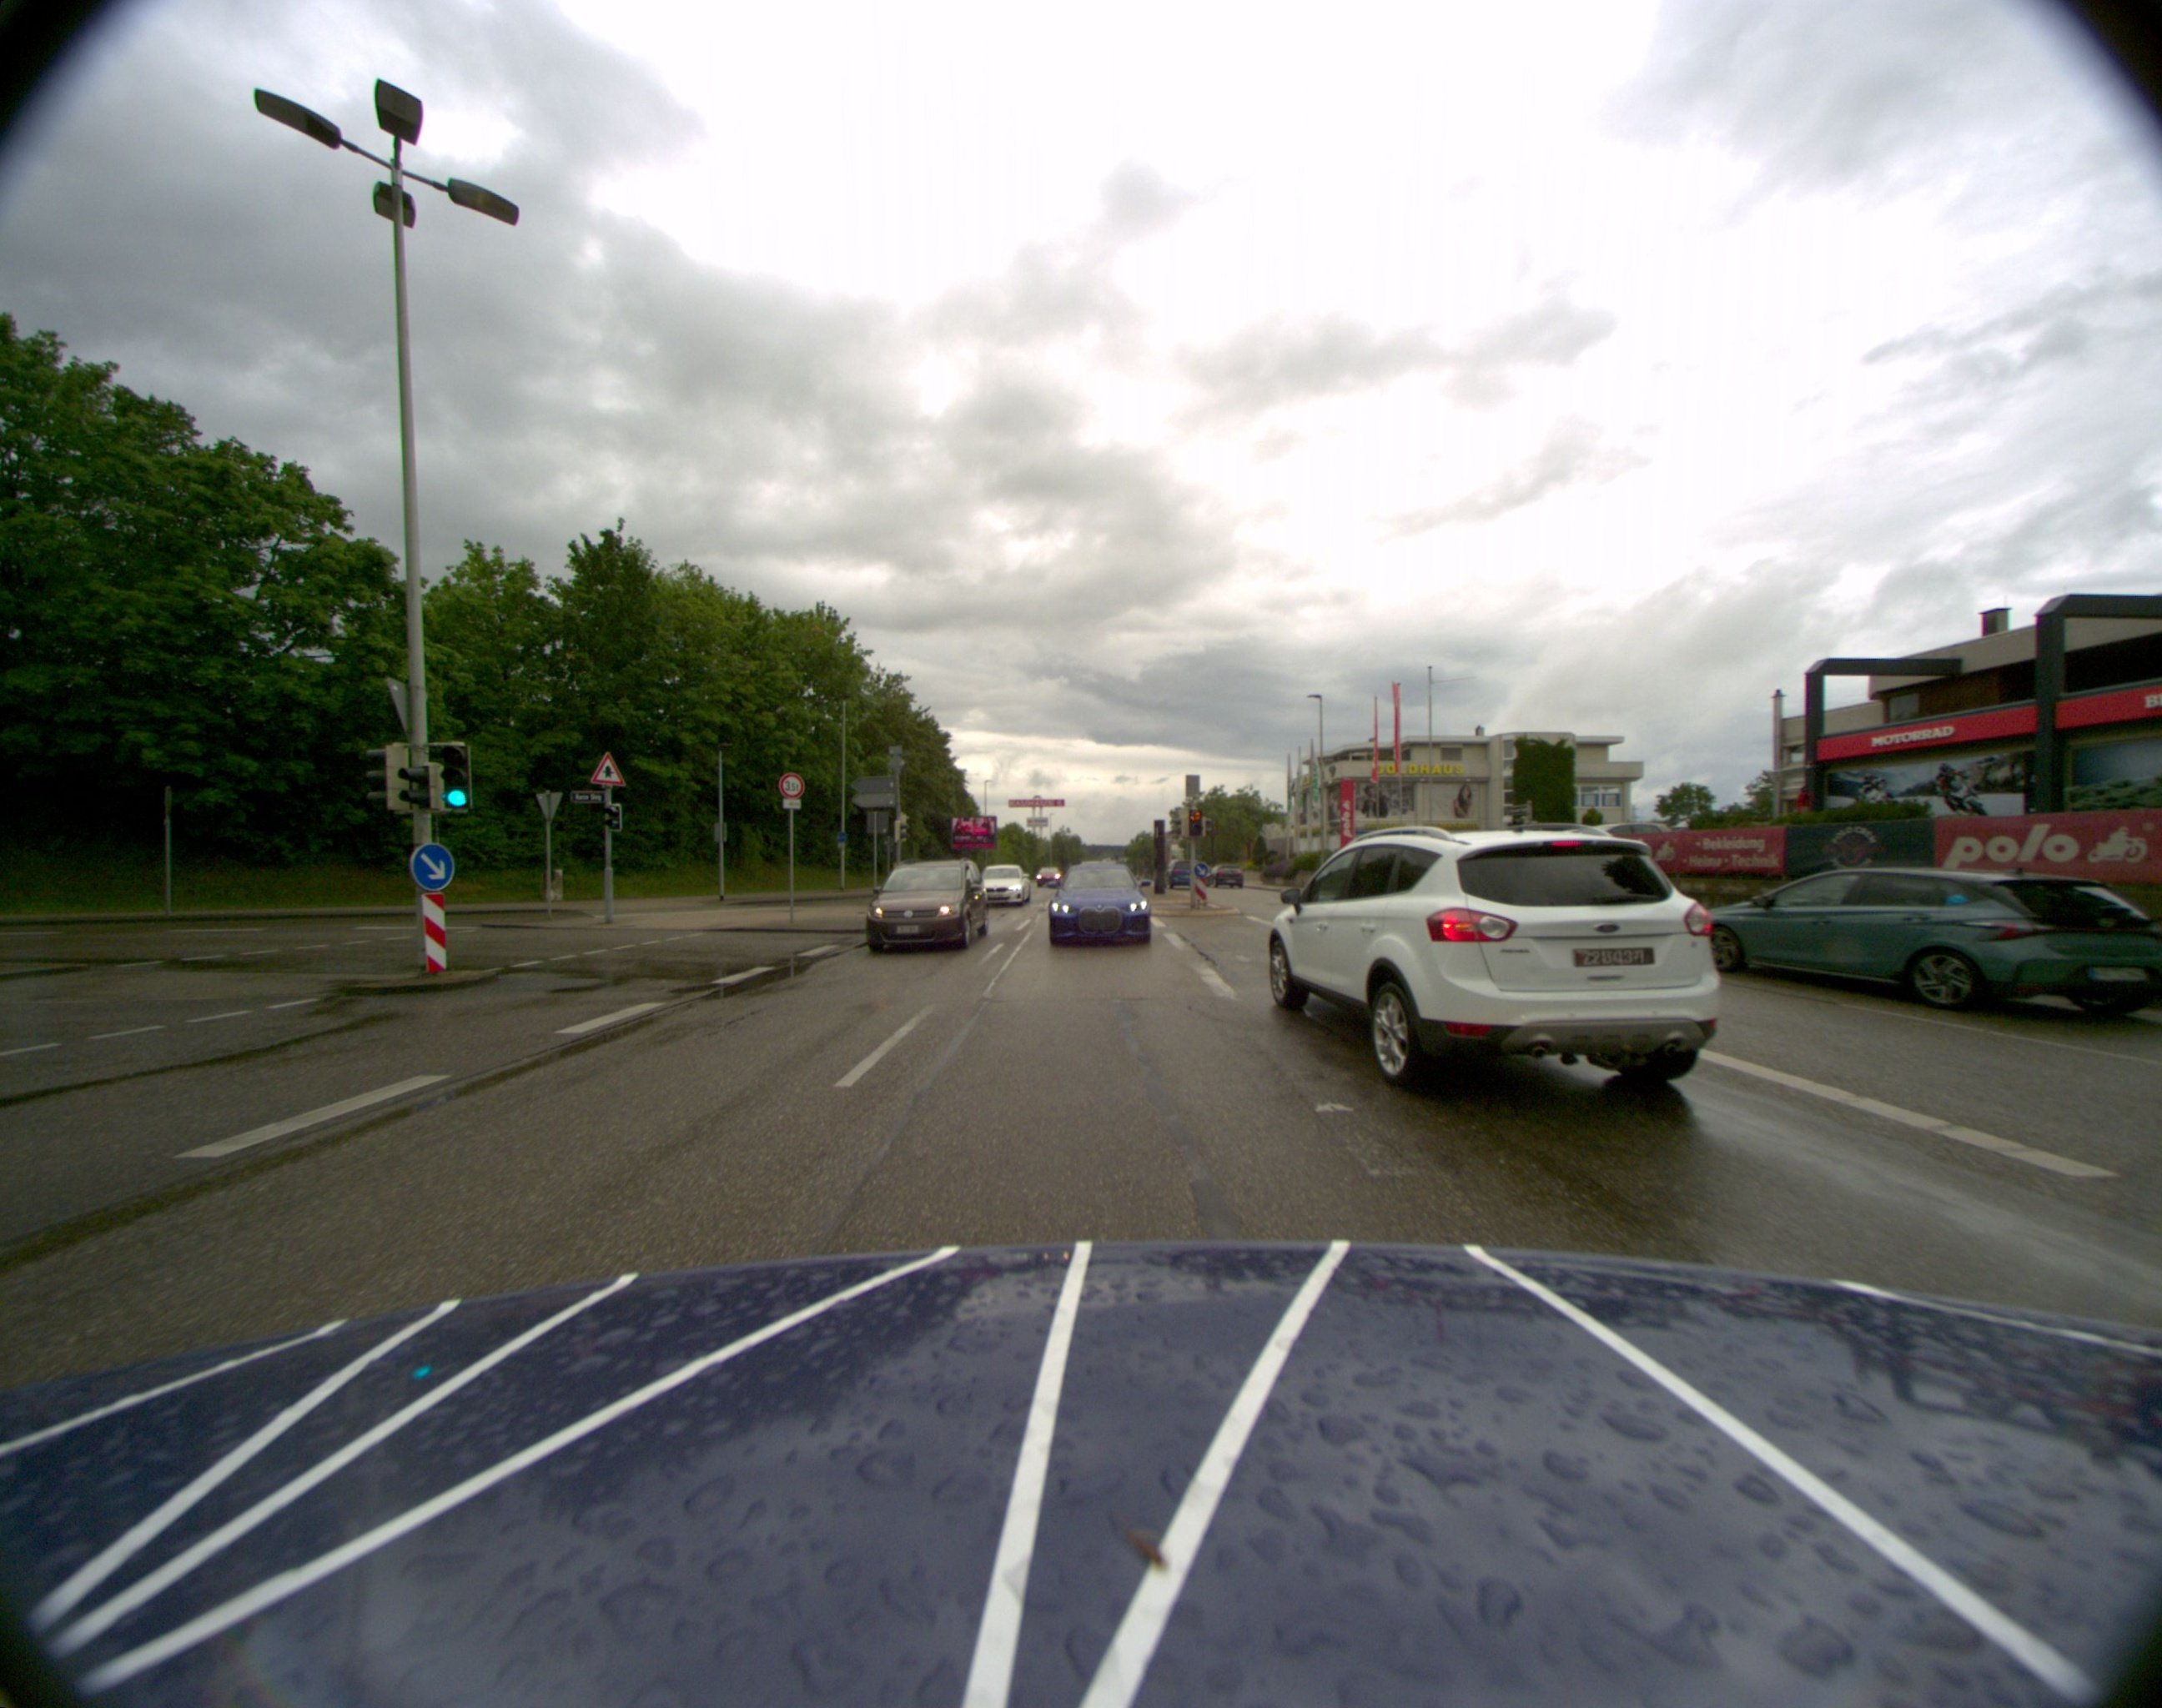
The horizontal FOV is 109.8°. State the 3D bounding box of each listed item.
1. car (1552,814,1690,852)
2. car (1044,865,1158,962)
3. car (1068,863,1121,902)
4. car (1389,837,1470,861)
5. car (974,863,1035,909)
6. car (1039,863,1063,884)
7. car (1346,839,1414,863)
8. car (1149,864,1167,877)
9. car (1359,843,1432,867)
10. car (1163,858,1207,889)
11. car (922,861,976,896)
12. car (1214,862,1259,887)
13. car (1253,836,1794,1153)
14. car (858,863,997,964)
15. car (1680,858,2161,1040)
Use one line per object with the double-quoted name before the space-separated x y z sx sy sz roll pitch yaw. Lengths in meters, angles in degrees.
"car" 17.263 -0.653 24.378 3.395 1.160 1.454 0 -1 -1
"car" 0.303 0.982 14.391 1.784 1.448 4.597 -1 0 -1
"car" 0.615 1.125 31.104 1.998 1.455 4.369 -2 -1 3
"car" 17.481 -0.254 38.192 3.395 1.160 1.454 0 -1 -1
"car" -2.739 1.114 28.120 1.784 1.448 4.679 -1 0 -1
"car" -2.170 1.393 55.229 1.634 1.448 3.538 -1 0 -1
"car" 17.239 -0.144 43.876 3.394 1.329 1.454 0 -1 2
"car" 11.625 2.556 115.394 2.350 1.878 4.546 0 -2 1
"car" 17.082 0.065 41.330 3.395 1.270 1.454 0 -1 -1
"car" 5.824 1.058 42.957 1.844 1.640 4.297 1 0 0
"car" -6.912 1.244 40.195 1.998 1.717 4.317 0 -1 1
"car" 9.273 1.199 45.670 1.922 1.371 4.126 1 0 1
"car" 2.795 0.747 6.110 1.844 1.640 4.297 0 0 0
"car" -2.776 1.024 14.633 1.751 1.599 3.981 -1 0 1
"car" 9.309 0.871 8.757 1.680 1.608 4.000 0 -1 1
